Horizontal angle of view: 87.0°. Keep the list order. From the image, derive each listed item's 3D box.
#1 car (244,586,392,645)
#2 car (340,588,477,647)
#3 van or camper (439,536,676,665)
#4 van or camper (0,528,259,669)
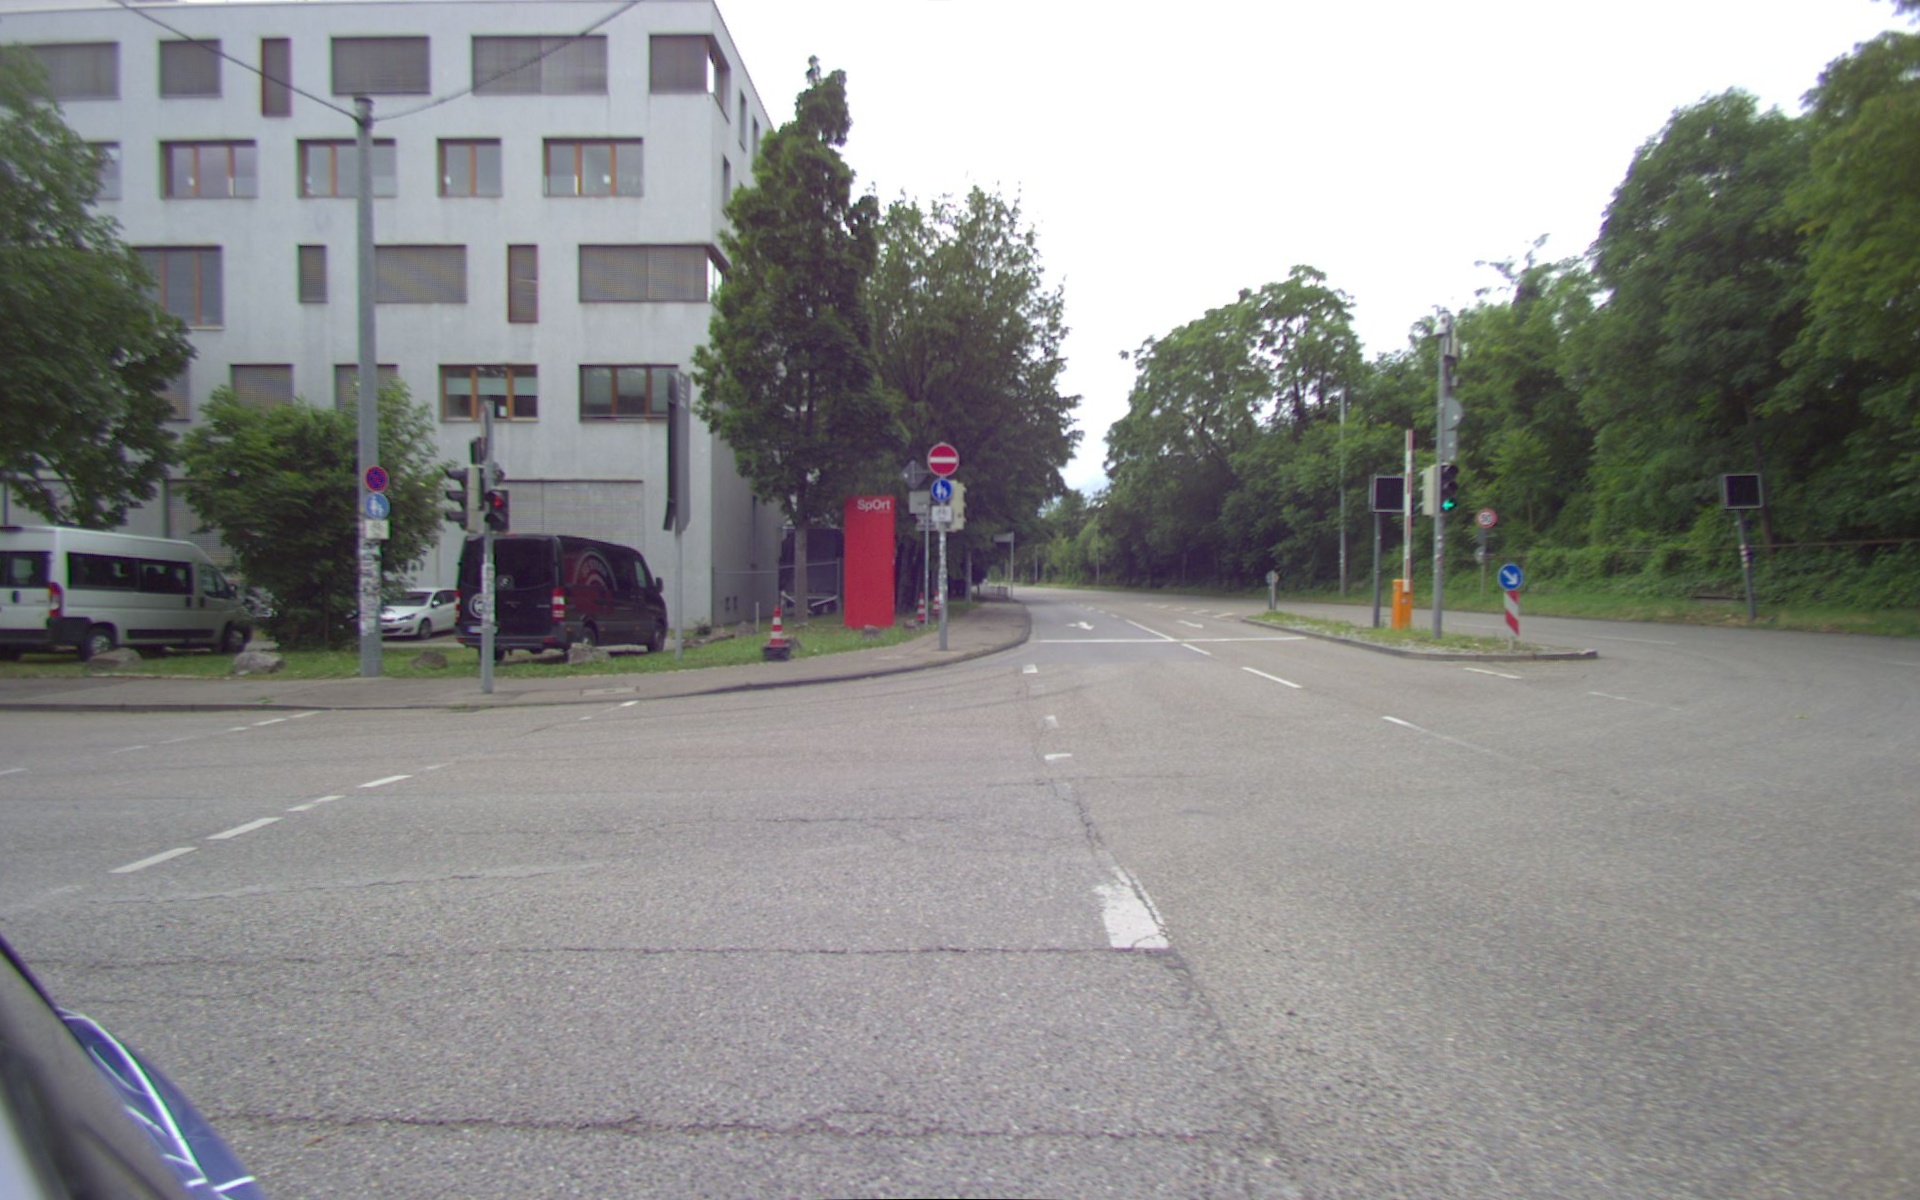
[{"bbox_3d":[-19.322,0.418,30.707,1.818,1.540,4.081,-1,2,1],"label":"car"},{"bbox_3d":[-16.684,0.466,30.861,1.833,1.470,4.075,-1,3,2],"label":"car"},{"bbox_3d":[-7.564,0.064,19.809,2.142,2.126,5.638,-1,-1,3],"label":"van or camper"},{"bbox_3d":[-16.908,-0.020,20.243,2.127,2.441,5.184,-1,0,1],"label":"van or camper"}]
